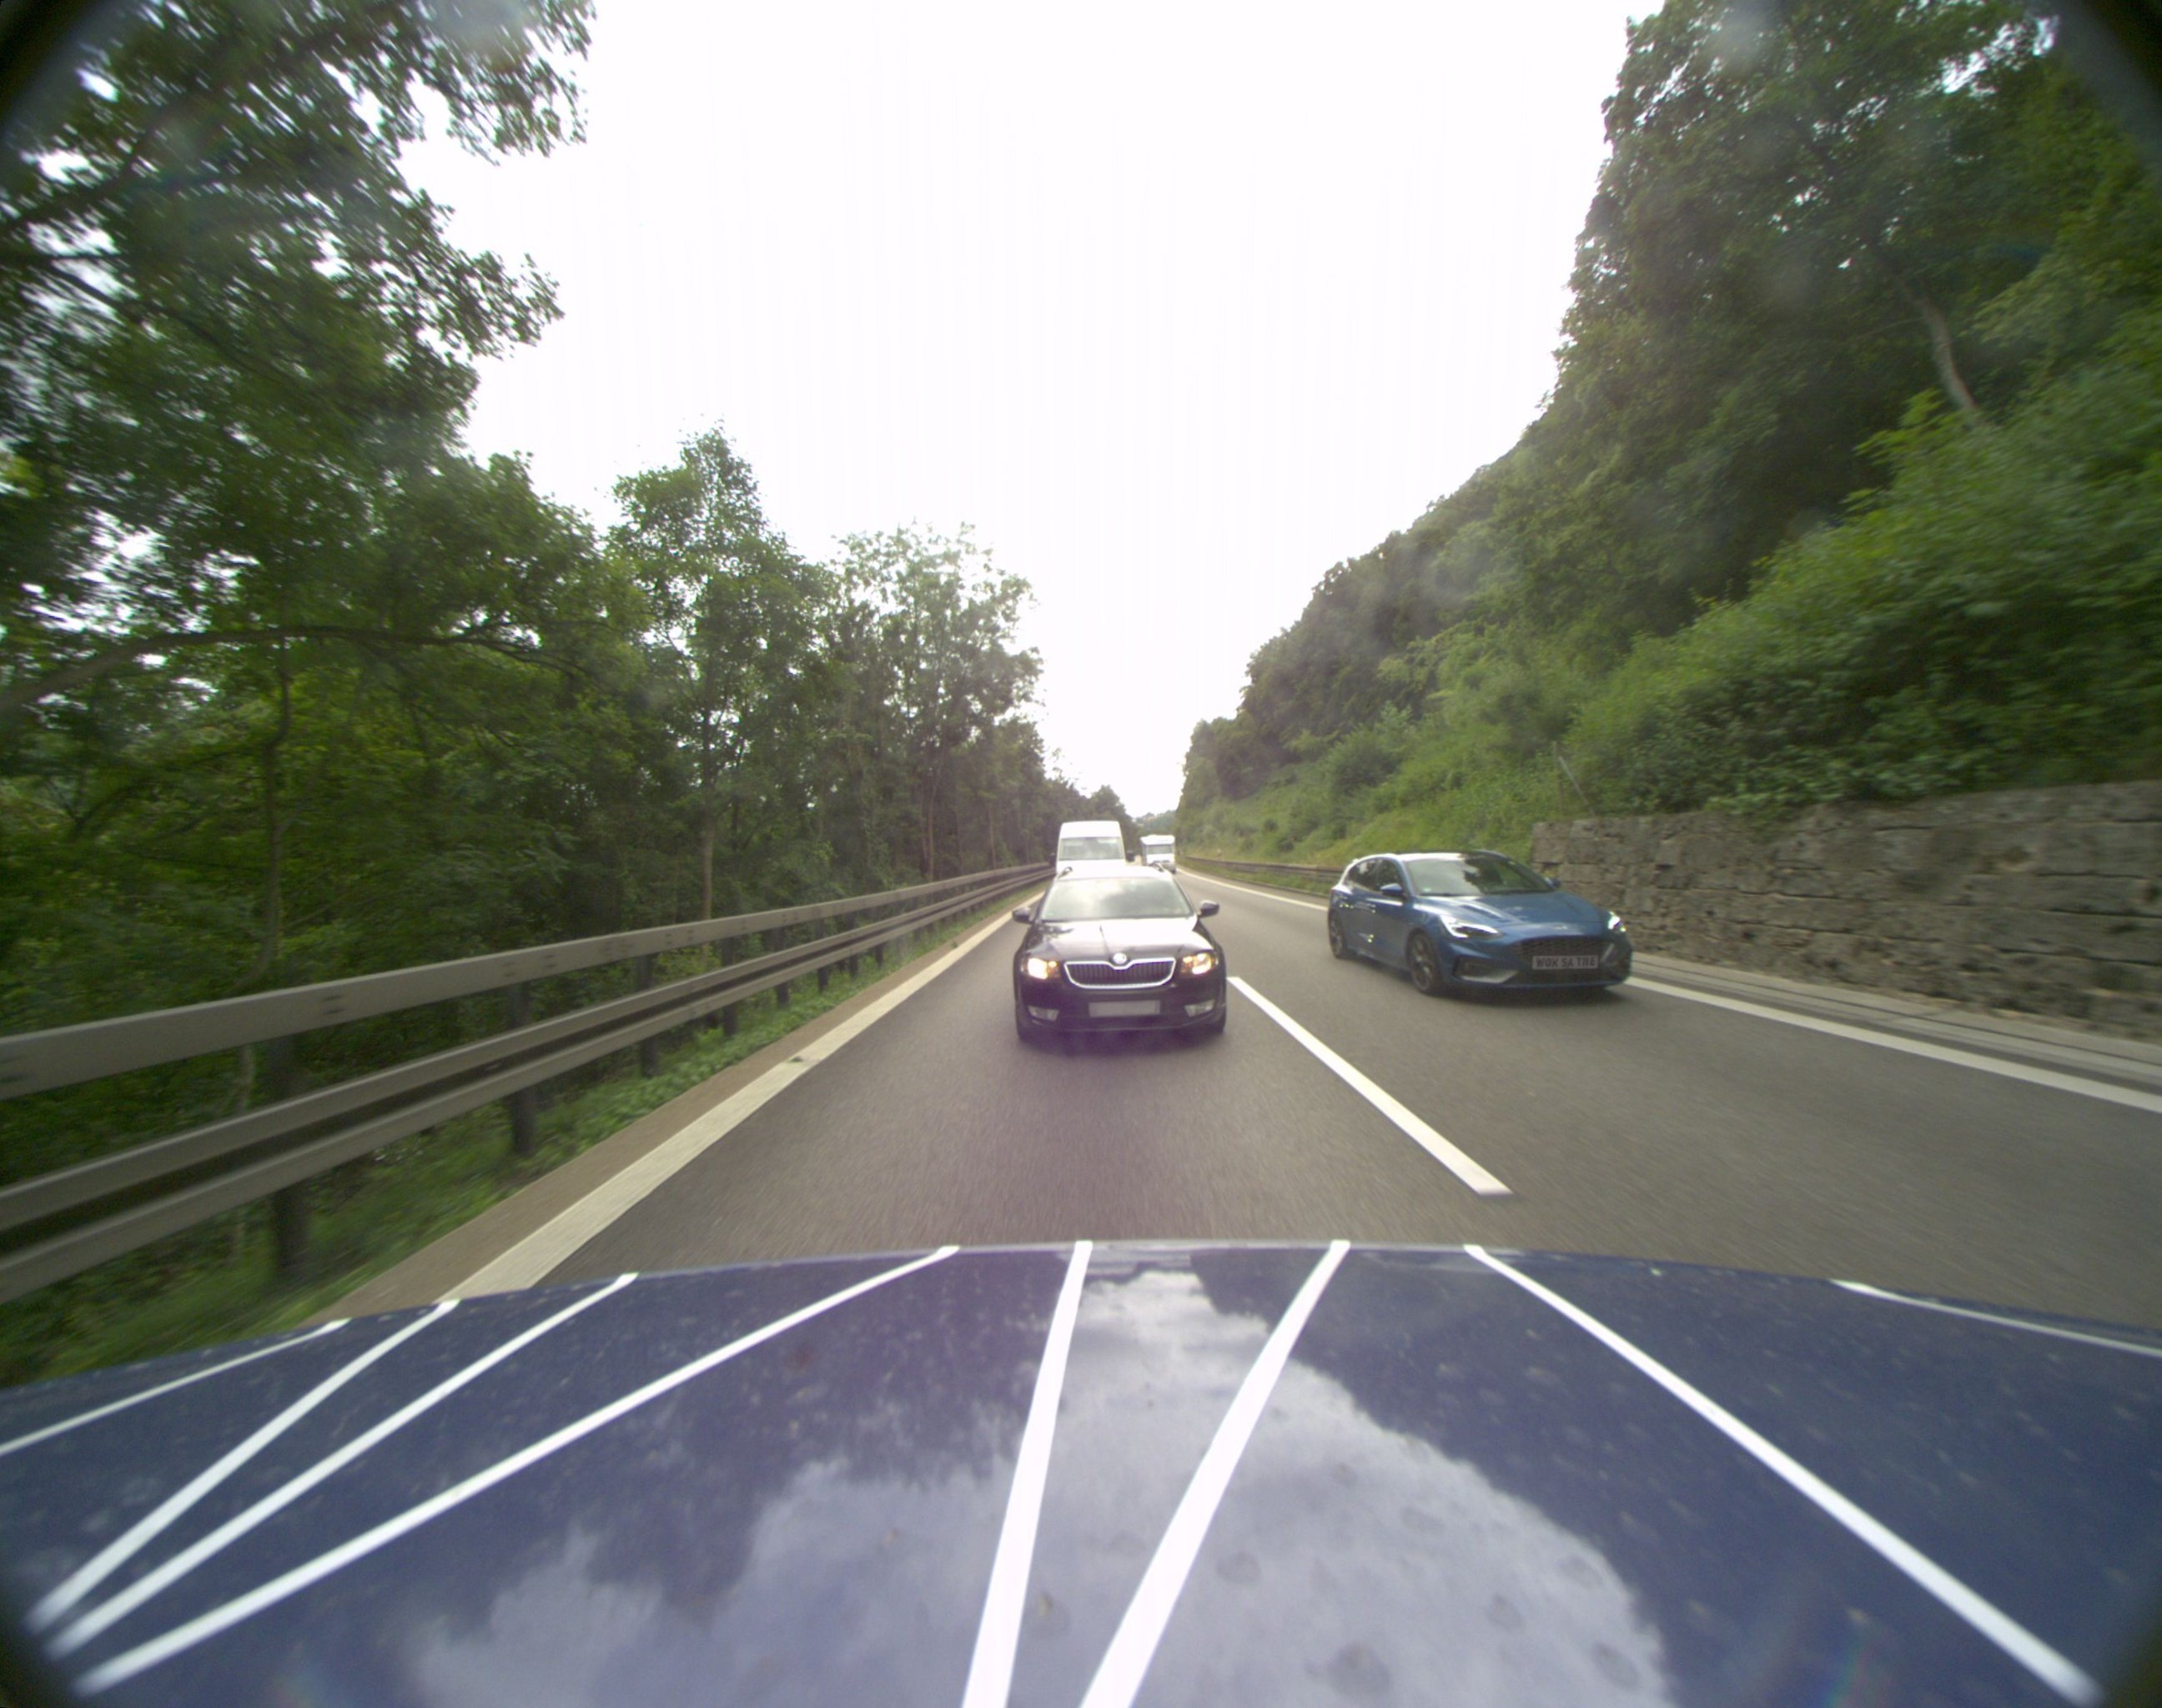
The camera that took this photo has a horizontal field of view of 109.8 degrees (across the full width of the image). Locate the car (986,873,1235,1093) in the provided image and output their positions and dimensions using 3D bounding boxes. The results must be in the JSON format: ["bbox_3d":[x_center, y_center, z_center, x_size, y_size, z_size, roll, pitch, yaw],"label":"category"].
[{"bbox_3d":[0.191,0.987,7.675,1.751,1.409,4.400,-2,0,-1],"label":"car"}]

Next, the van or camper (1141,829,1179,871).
[{"bbox_3d":[5.496,-0.272,53.811,2.270,2.719,7.025,-2,0,3],"label":"van or camper"}]

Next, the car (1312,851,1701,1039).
[{"bbox_3d":[4.194,0.743,8.528,1.840,1.460,4.555,-2,1,1],"label":"car"}]

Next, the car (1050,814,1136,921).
[{"bbox_3d":[0.359,0.304,21.068,2.001,2.545,5.127,-2,1,2],"label":"car"}]
